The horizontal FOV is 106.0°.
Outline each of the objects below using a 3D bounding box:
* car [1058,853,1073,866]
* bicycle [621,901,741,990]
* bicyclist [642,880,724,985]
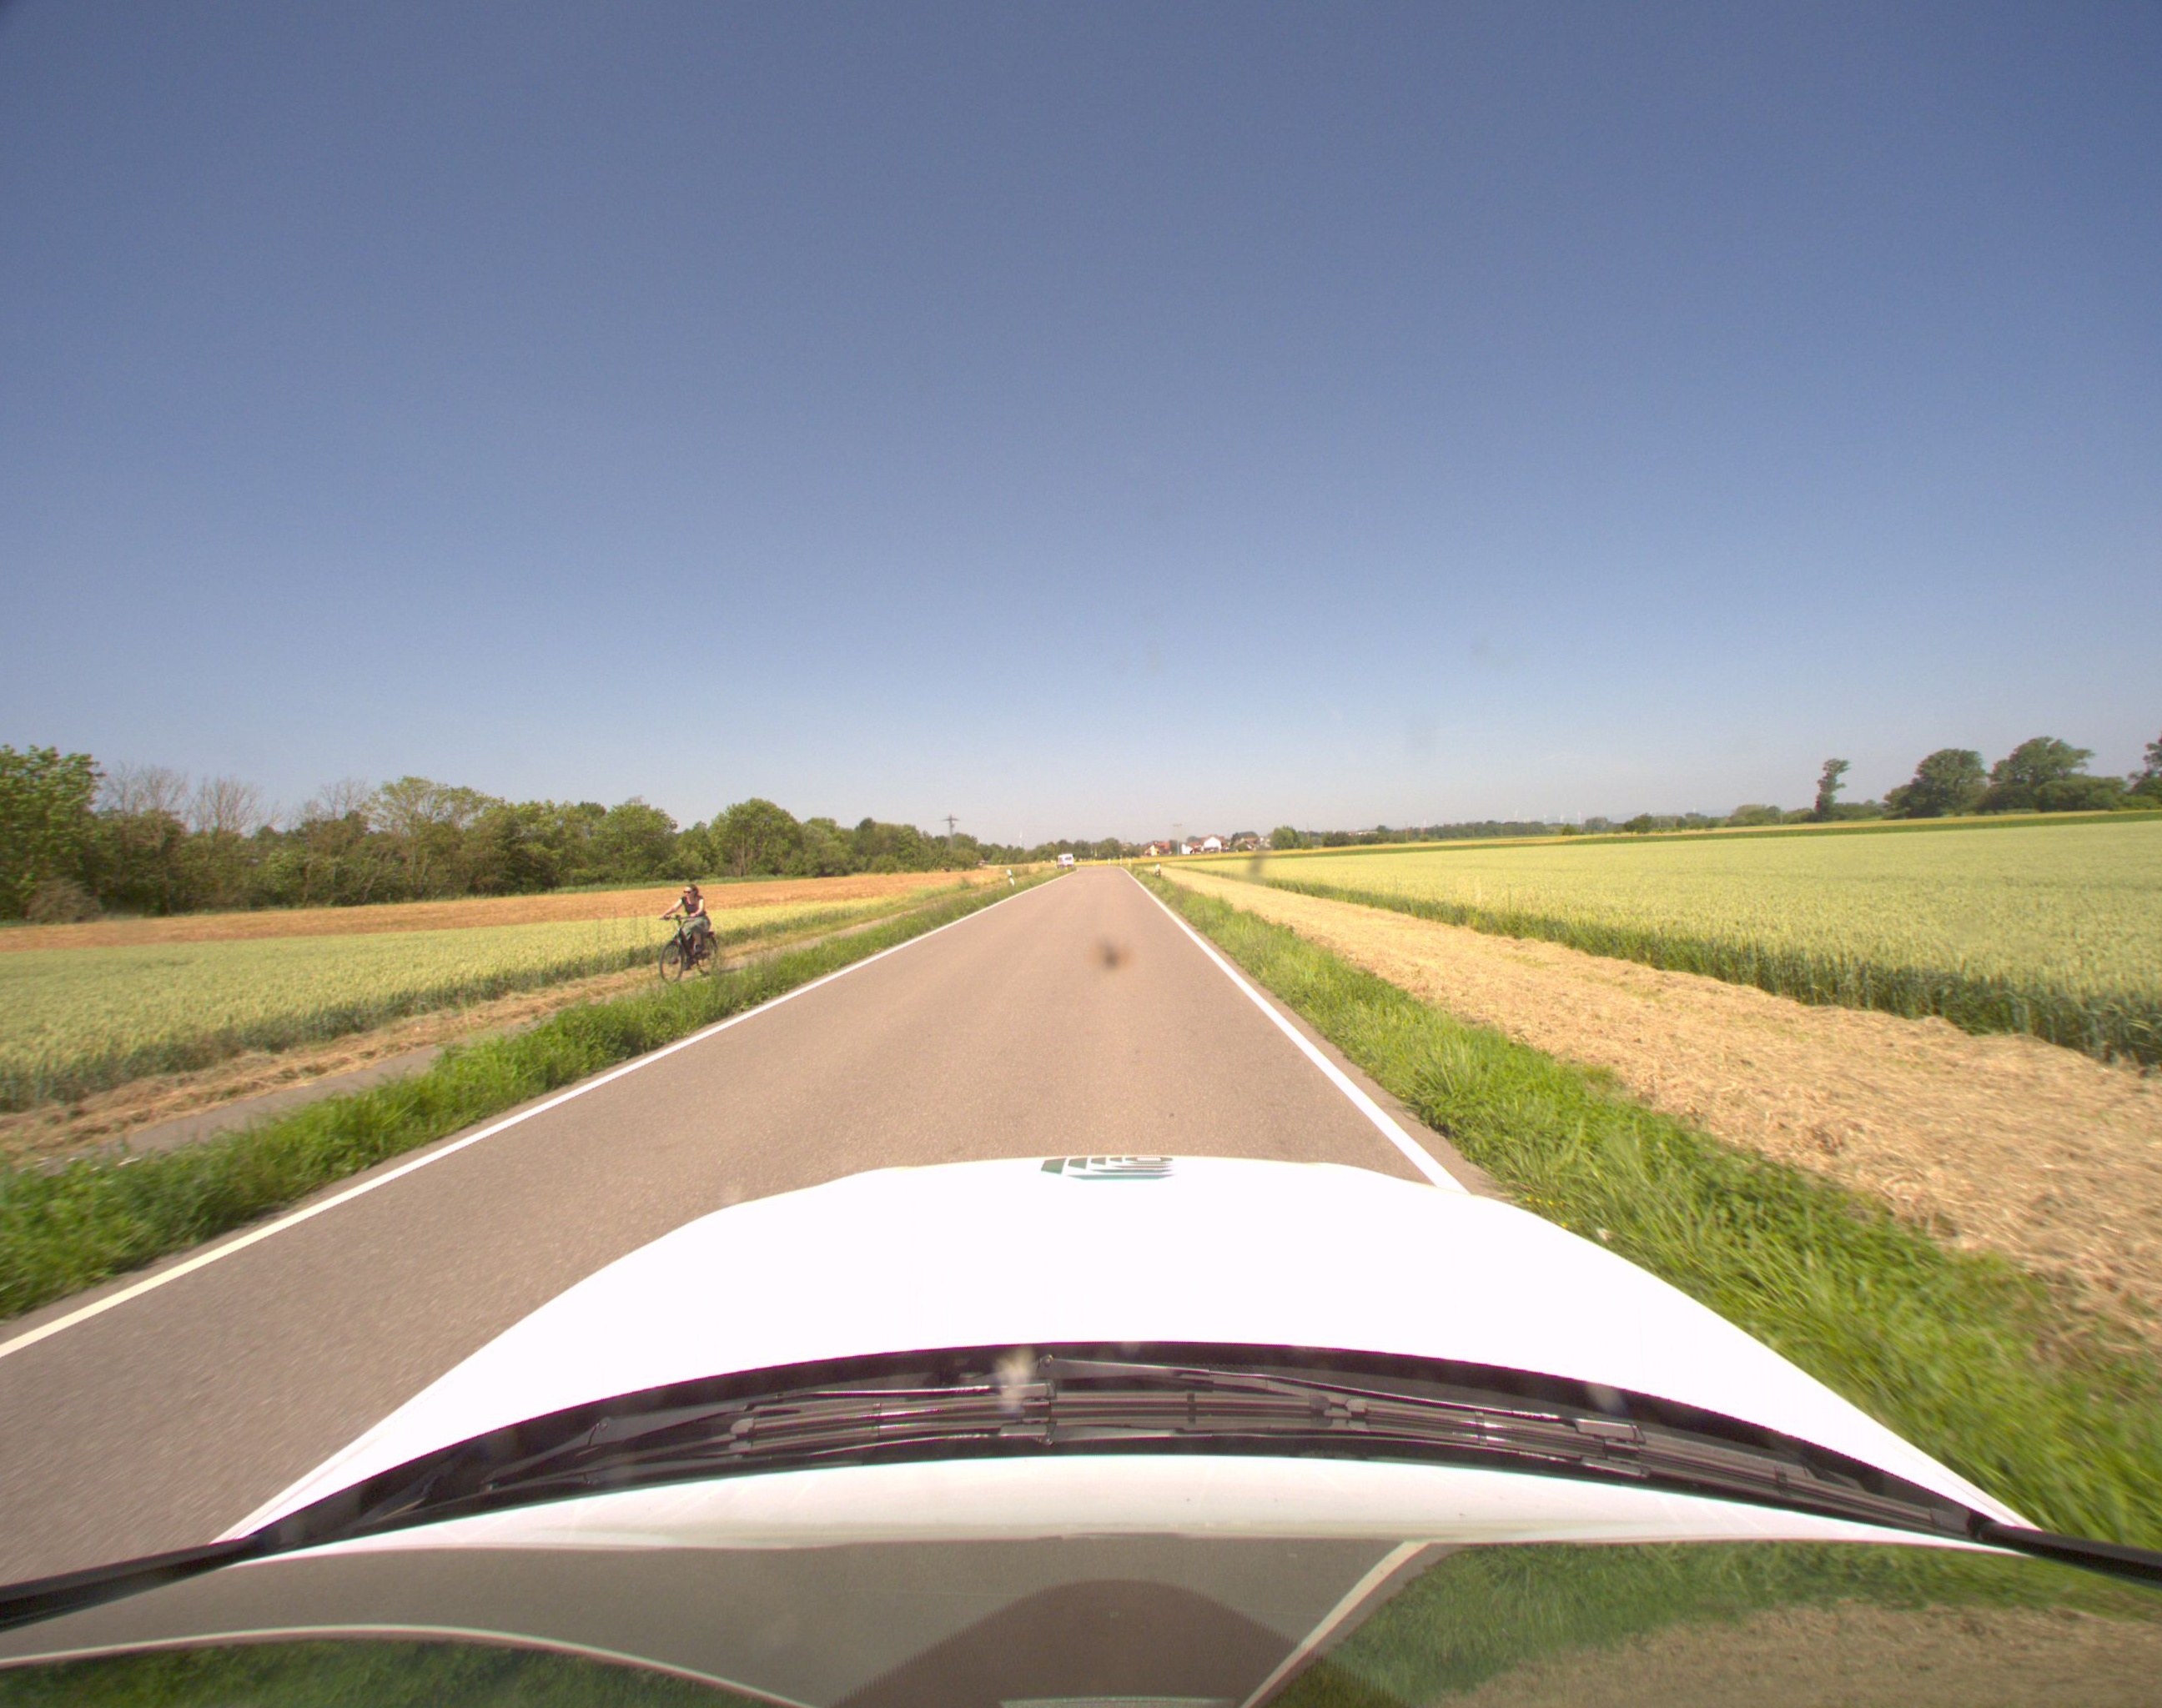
[{"bbox_3d":[-2.858,0.972,149.339,2.106,2.304,5.480,-1,0,-8],"label":"car"},{"bbox_3d":[-6.885,1.538,14.209,0.756,1.236,2.395,-4,0,2],"label":"bicycle"},{"bbox_3d":[-6.883,1.320,14.140,0.757,1.672,1.089,-4,-1,2],"label":"bicyclist"}]
